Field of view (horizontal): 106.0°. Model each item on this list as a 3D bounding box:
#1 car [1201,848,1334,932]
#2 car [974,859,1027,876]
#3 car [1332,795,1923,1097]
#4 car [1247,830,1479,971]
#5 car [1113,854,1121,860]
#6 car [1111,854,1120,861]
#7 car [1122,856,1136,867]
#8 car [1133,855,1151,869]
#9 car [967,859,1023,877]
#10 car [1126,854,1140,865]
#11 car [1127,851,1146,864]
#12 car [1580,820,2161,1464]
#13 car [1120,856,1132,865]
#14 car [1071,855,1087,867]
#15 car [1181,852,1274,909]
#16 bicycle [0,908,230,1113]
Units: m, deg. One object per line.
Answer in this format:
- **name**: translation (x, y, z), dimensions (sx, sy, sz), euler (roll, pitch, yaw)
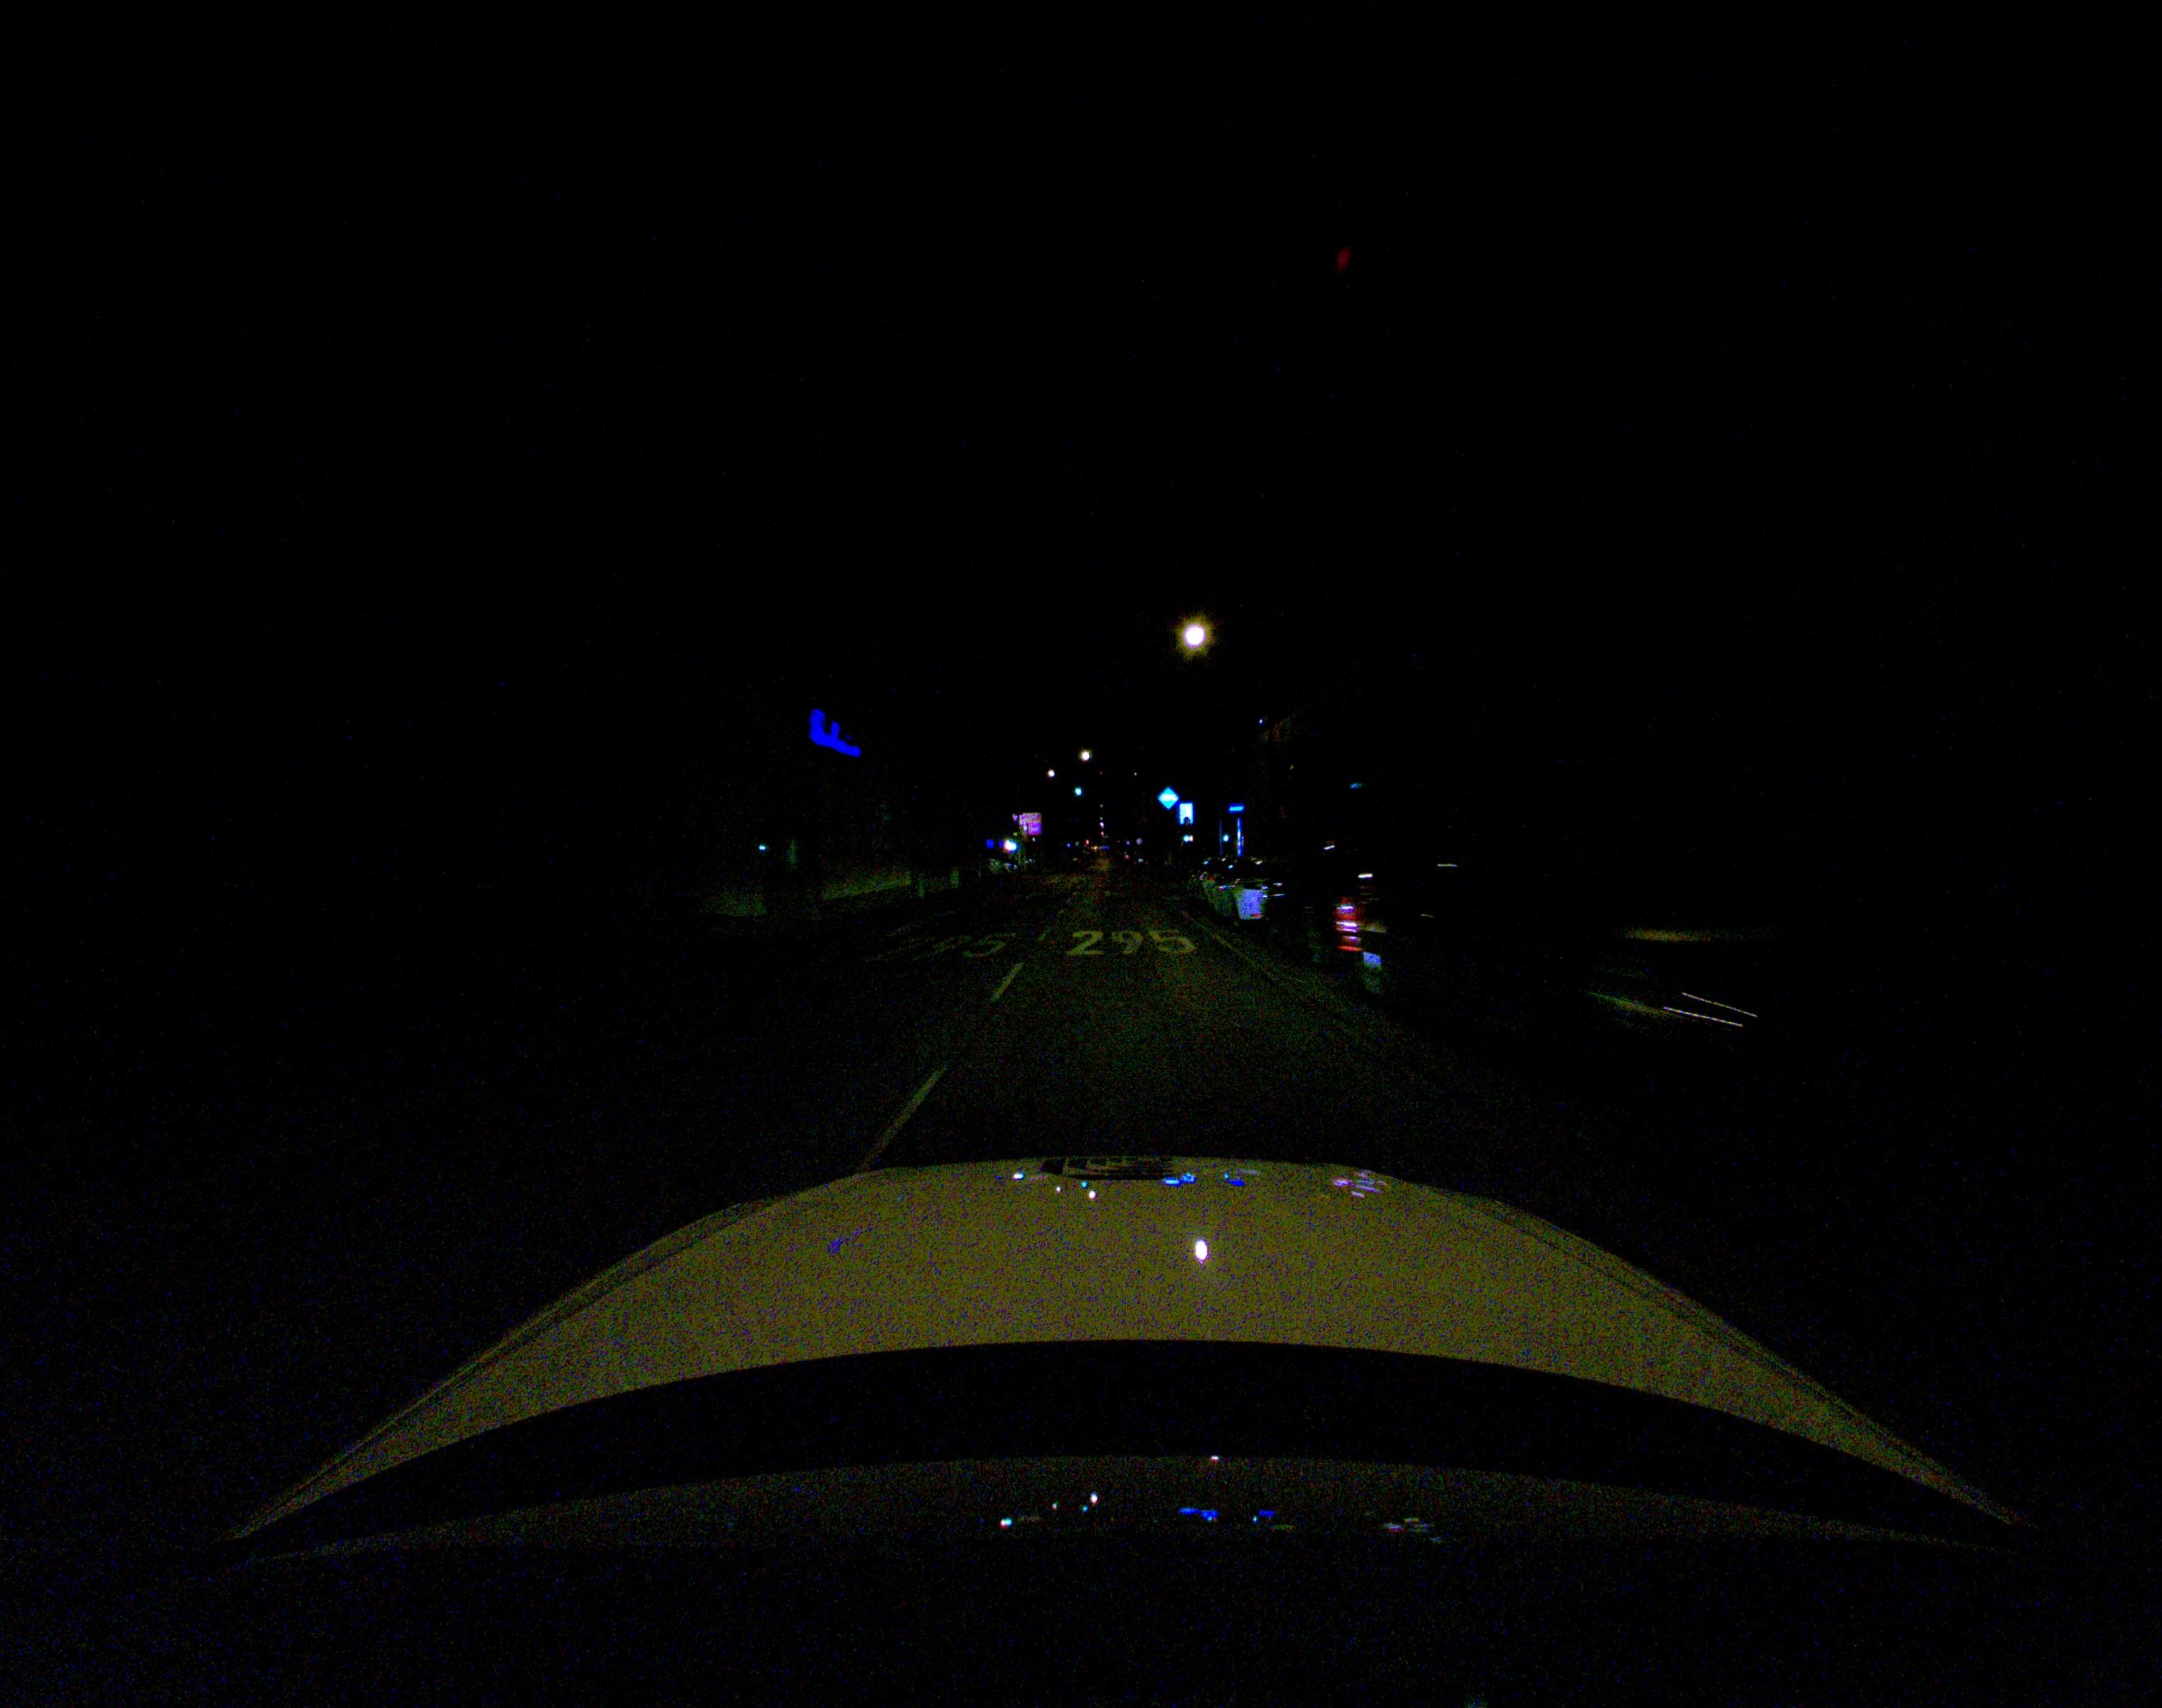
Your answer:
- **car**: translation (3.866, 0.712, 17.673), dimensions (1.769, 1.544, 4.544), euler (-1, -1, -1)
- **car**: translation (-7.013, 1.186, 71.182), dimensions (4.424, 1.450, 2.000), euler (-1, -1, 0)
- **car**: translation (3.728, 0.508, 6.803), dimensions (1.817, 1.589, 4.628), euler (-2, 0, 0)
- **car**: translation (3.832, 0.557, 11.975), dimensions (1.817, 1.623, 4.457), euler (-2, 0, 0)
- **car**: translation (9.361, 0.692, 211.070), dimensions (1.985, 1.520, 4.003), euler (-1, -1, 3)
- **car**: translation (7.957, 0.845, 188.108), dimensions (1.985, 1.520, 4.003), euler (-1, -1, 3)
- **car**: translation (7.283, 1.117, 123.079), dimensions (1.985, 1.520, 4.003), euler (-1, -1, 3)
- **car**: translation (6.822, 0.931, 91.744), dimensions (1.985, 1.516, 4.003), euler (0, 0, 3)
- **car**: translation (-7.190, 1.179, 68.154), dimensions (4.423, 1.450, 2.000), euler (-1, -1, 1)
- **car**: translation (7.341, 0.845, 115.569), dimensions (1.985, 1.520, 4.003), euler (-1, -1, 3)
- **car**: translation (6.594, 0.410, 97.298), dimensions (1.987, 1.596, 4.000), euler (0, 0, 0)
- **car**: translation (3.326, 0.621, 2.008), dimensions (1.808, 1.427, 4.193), euler (-3, 0, 4)
- **car**: translation (7.830, 1.202, 140.418), dimensions (1.985, 1.520, 4.003), euler (-1, -1, 3)
- **car**: translation (-0.293, 0.981, 110.526), dimensions (1.986, 1.502, 4.001), euler (-1, -1, 2)
- **car**: translation (4.154, 0.736, 23.826), dimensions (1.854, 1.489, 4.544), euler (-1, -1, -1)
- **bicycle**: translation (-6.160, 0.885, 4.707), dimensions (0.617, 1.052, 1.722), euler (-1, -1, 2)
